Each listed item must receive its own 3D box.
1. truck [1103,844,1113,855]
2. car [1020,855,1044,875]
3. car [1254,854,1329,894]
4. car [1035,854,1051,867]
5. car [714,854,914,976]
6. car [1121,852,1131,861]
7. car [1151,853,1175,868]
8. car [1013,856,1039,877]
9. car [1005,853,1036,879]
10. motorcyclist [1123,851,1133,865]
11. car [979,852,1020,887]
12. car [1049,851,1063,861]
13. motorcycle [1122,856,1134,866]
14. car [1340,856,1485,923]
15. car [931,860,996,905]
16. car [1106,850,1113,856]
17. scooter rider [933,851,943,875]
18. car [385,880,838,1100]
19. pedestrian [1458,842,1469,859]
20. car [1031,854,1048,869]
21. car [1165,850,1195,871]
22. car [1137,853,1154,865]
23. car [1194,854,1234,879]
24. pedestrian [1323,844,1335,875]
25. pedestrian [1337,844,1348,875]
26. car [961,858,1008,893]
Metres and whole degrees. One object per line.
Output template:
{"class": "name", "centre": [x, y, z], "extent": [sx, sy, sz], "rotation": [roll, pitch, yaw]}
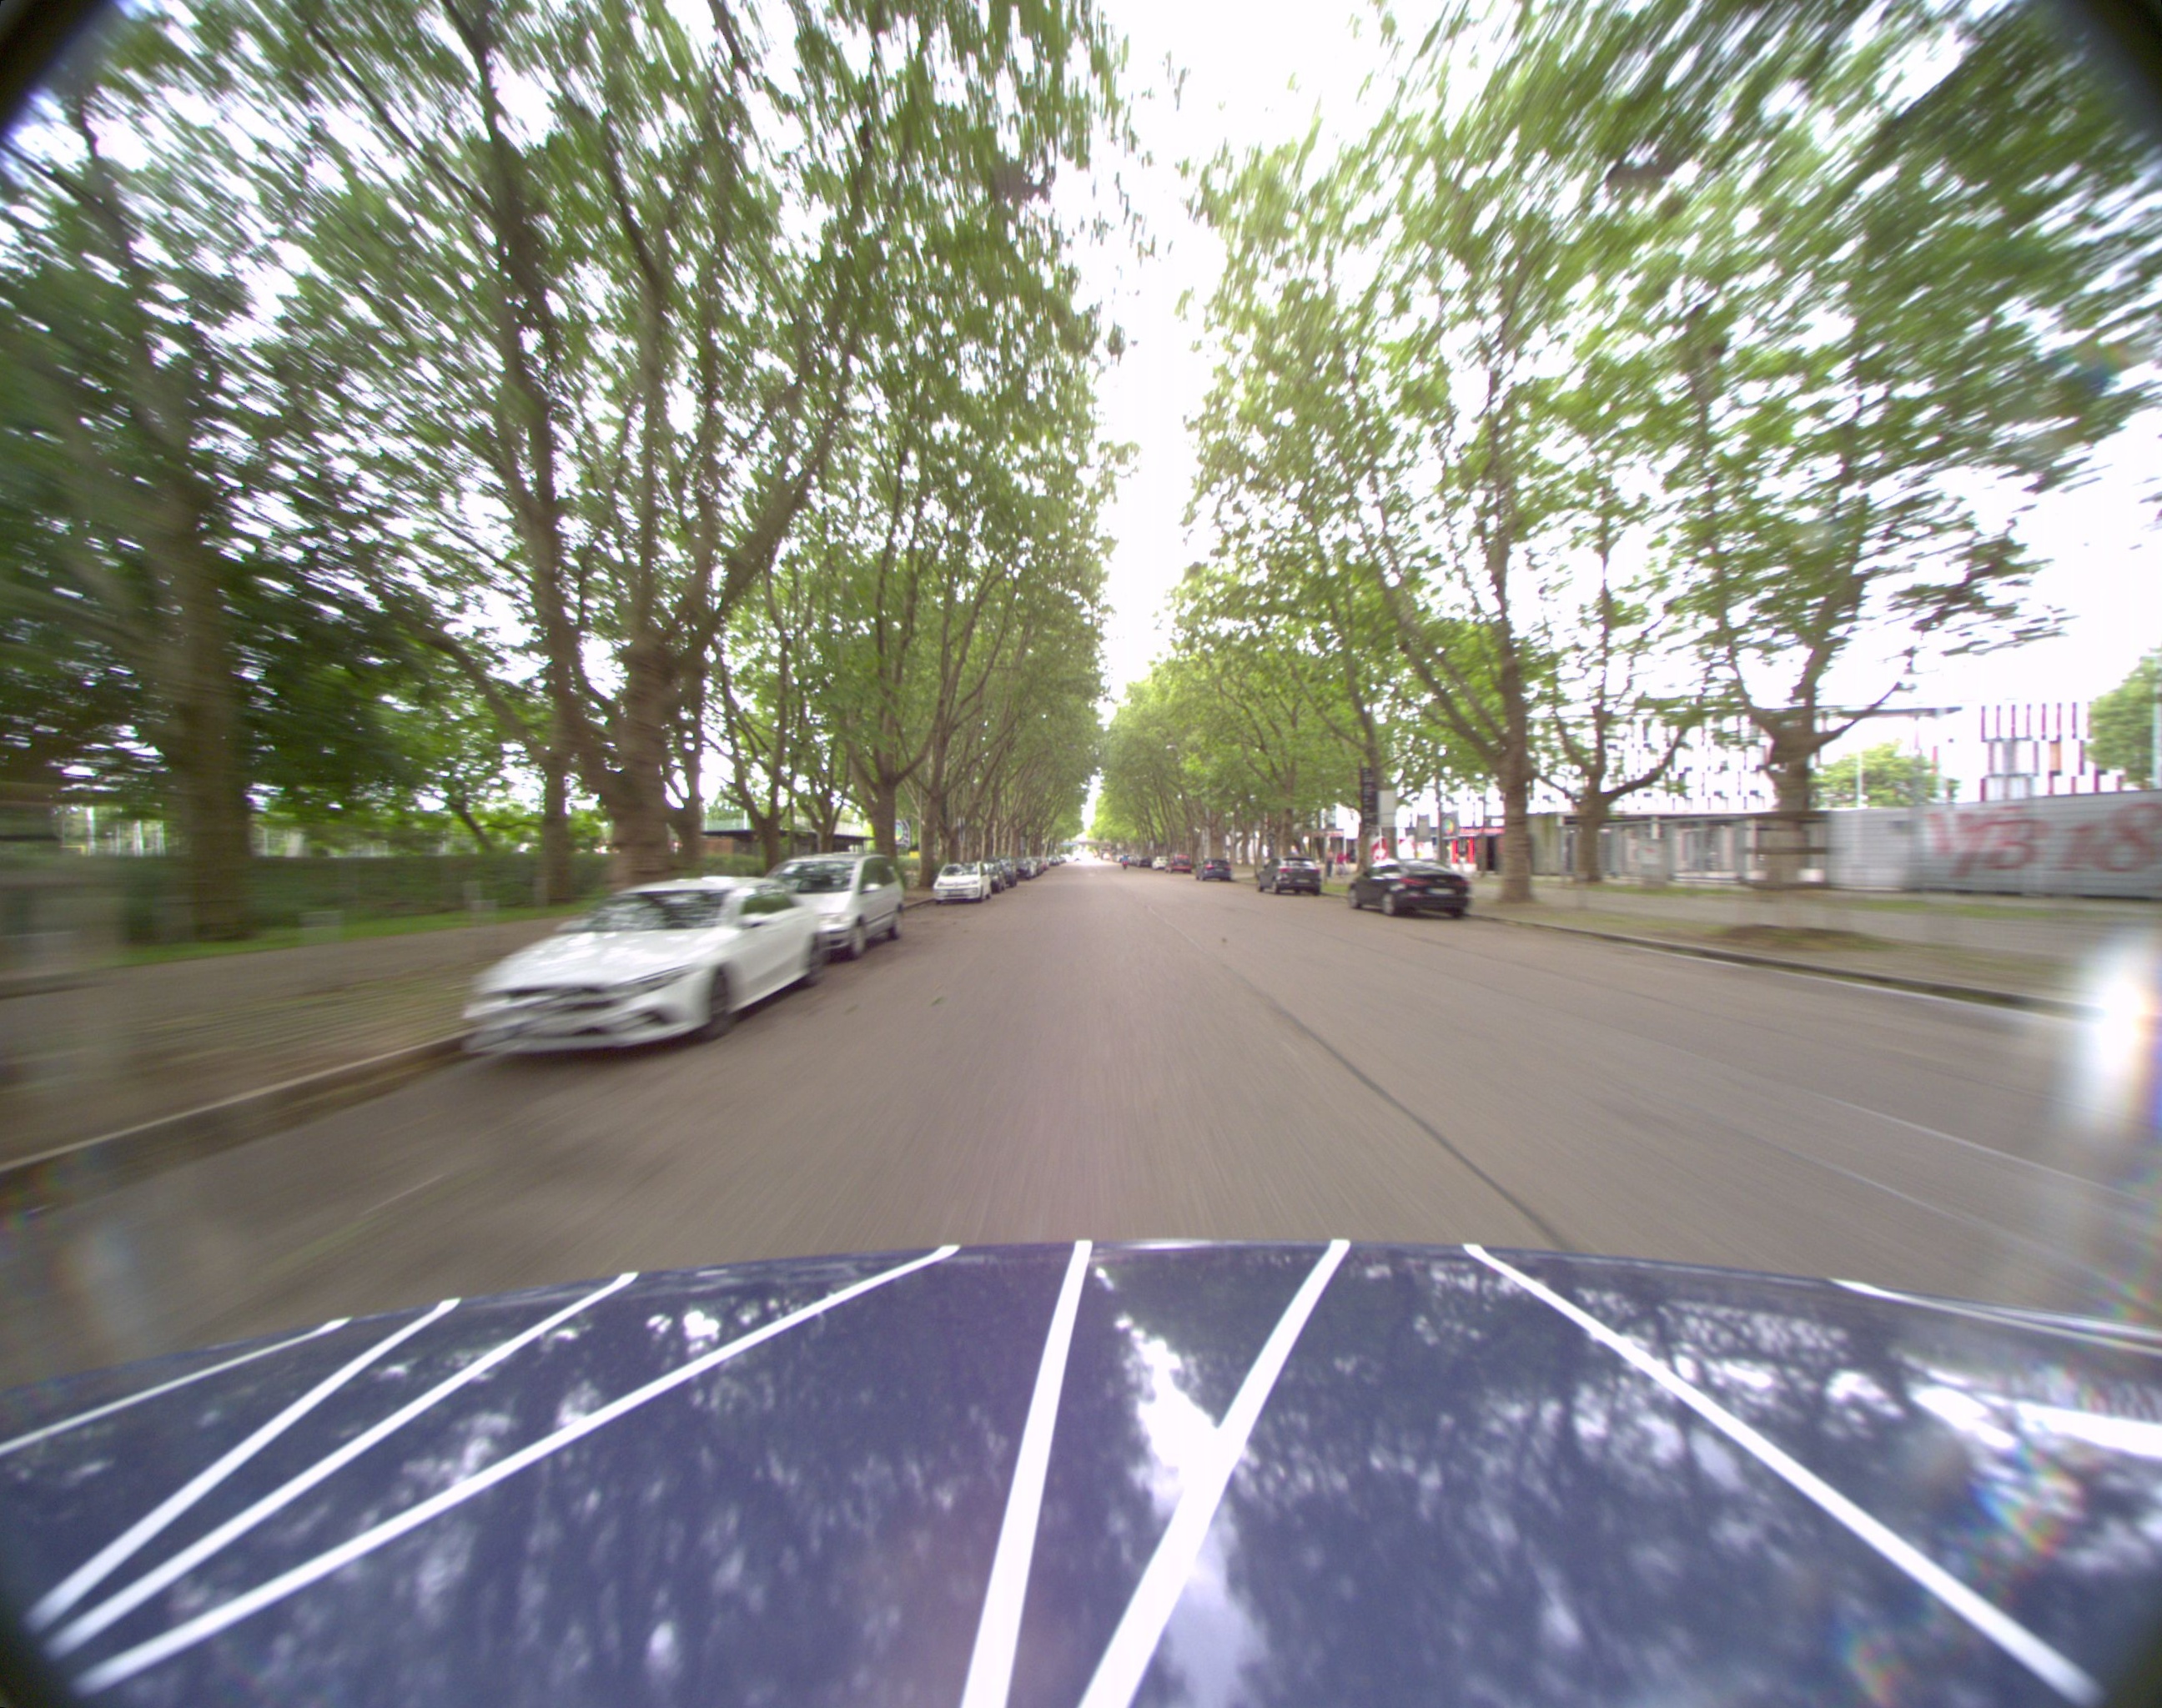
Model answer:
{"class": "truck", "centre": [8.962, -1.517, 255.257], "extent": [2.917, 3.846, 9.465], "rotation": [1, 1, 0]}
{"class": "car", "centre": [-4.116, 0.902, 64.054], "extent": [1.672, 1.500, 4.353], "rotation": [-3, 0, 0]}
{"class": "car", "centre": [8.440, 0.761, 30.811], "extent": [1.883, 1.518, 4.151], "rotation": [0, 0, 0]}
{"class": "car", "centre": [-4.526, 0.747, 91.569], "extent": [1.739, 1.430, 4.122], "rotation": [-1, 0, 0]}
{"class": "car", "centre": [-4.417, 0.897, 13.435], "extent": [1.907, 1.728, 4.506], "rotation": [-1, 0, 0]}
{"class": "car", "centre": [8.732, 0.488, 148.691], "extent": [1.822, 1.584, 4.345], "rotation": [2, 0, 2]}
{"class": "car", "centre": [8.637, 0.665, 80.375], "extent": [1.909, 1.394, 4.751], "rotation": [2, 0, 0]}
{"class": "car", "centre": [-4.183, 0.946, 58.558], "extent": [1.620, 1.433, 3.710], "rotation": [-3, 0, 1]}
{"class": "car", "centre": [-4.174, 0.801, 53.129], "extent": [1.782, 1.663, 4.637], "rotation": [-1, 0, -1]}
{"class": "motorcyclist", "centre": [4.959, 0.386, 80.753], "extent": [0.872, 1.471, 1.264], "rotation": [-1, 1, -3]}
{"class": "car", "centre": [-4.231, 0.772, 40.261], "extent": [1.712, 1.688, 4.630], "rotation": [-2, 0, -1]}
{"class": "car", "centre": [-3.963, 0.366, 119.012], "extent": [1.998, 1.469, 4.371], "rotation": [-2, 0, 0]}
{"class": "motorcycle", "centre": [4.972, 0.711, 80.751], "extent": [0.875, 1.073, 3.051], "rotation": [-1, 0, -3]}
{"class": "car", "centre": [8.298, 0.810, 19.529], "extent": [1.831, 1.457, 4.627], "rotation": [0, 0, 2]}
{"class": "car", "centre": [-4.199, 0.967, 27.664], "extent": [1.712, 1.419, 3.889], "rotation": [-2, 0, 0]}
{"class": "car", "centre": [9.027, -0.324, 241.187], "extent": [2.064, 1.950, 5.466], "rotation": [0, 0, 1]}
{"class": "scooter rider", "centre": [-11.068, 0.691, 58.792], "extent": [0.678, 1.789, 0.587], "rotation": [1, 1, 0]}
{"class": "car", "centre": [-4.200, 1.086, 7.921], "extent": [1.882, 1.419, 4.585], "rotation": [-1, 0, -1]}
{"class": "pedestrian", "centre": [37.801, -0.333, 75.147], "extent": [0.726, 1.681, 0.808], "rotation": [-1, 1, 4]}
{"class": "car", "centre": [-4.473, 0.769, 81.384], "extent": [1.721, 1.430, 4.627], "rotation": [-3, 0, -4]}
{"class": "car", "centre": [8.605, 0.525, 66.324], "extent": [1.954, 1.740, 4.637], "rotation": [1, 0, -1]}
{"class": "car", "centre": [8.296, 0.645, 98.258], "extent": [1.838, 1.486, 4.442], "rotation": [2, 0, 0]}
{"class": "car", "centre": [8.443, 0.763, 48.591], "extent": [1.729, 1.477, 4.574], "rotation": [-1, 0, 0]}
{"class": "pedestrian", "centre": [14.251, 0.334, 43.721], "extent": [0.577, 1.759, 0.768], "rotation": [-1, 1, 15]}
{"class": "pedestrian", "centre": [15.028, 0.316, 43.670], "extent": [0.575, 1.732, 0.768], "rotation": [-1, 1, 15]}
{"class": "car", "centre": [-4.325, 0.932, 34.513], "extent": [1.712, 1.407, 4.360], "rotation": [-2, 0, -2]}
